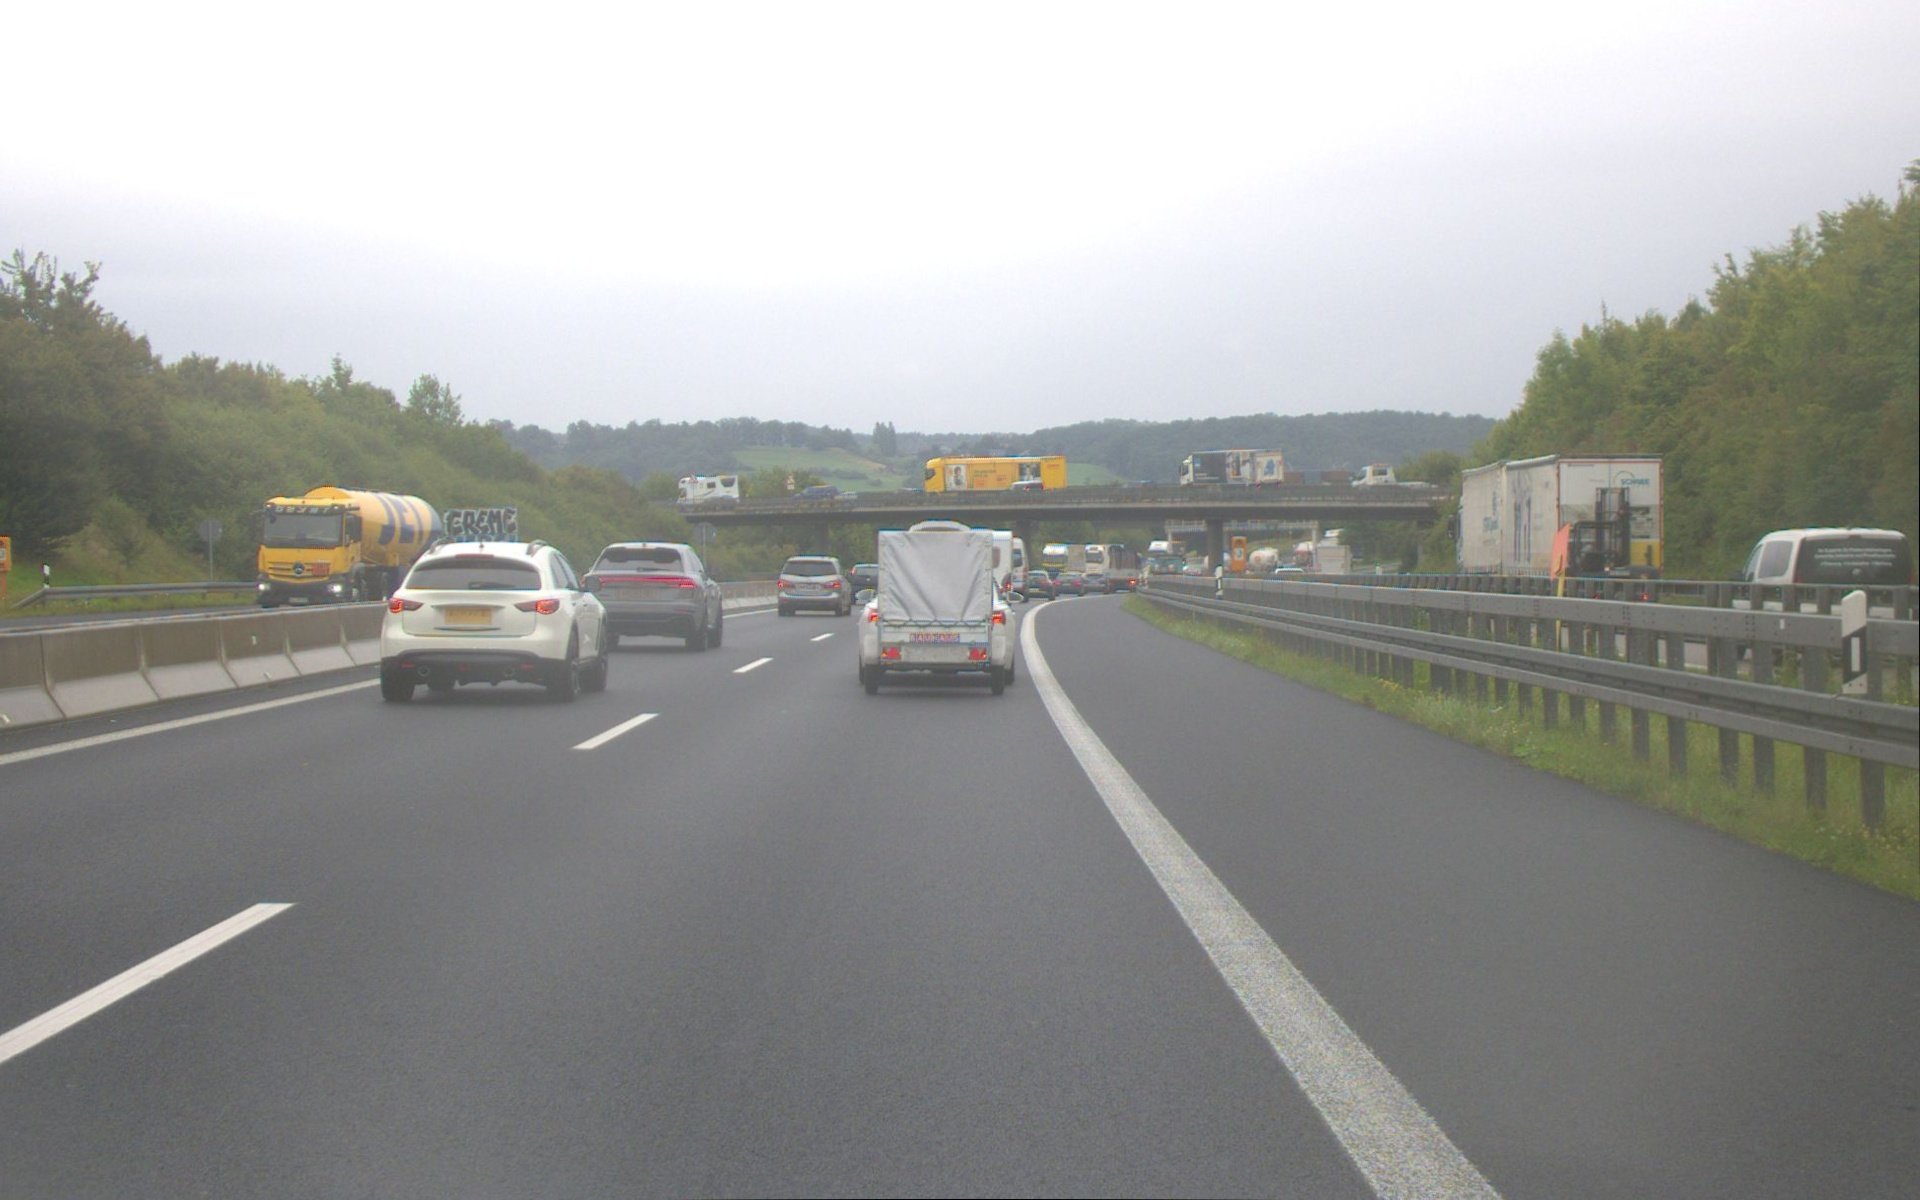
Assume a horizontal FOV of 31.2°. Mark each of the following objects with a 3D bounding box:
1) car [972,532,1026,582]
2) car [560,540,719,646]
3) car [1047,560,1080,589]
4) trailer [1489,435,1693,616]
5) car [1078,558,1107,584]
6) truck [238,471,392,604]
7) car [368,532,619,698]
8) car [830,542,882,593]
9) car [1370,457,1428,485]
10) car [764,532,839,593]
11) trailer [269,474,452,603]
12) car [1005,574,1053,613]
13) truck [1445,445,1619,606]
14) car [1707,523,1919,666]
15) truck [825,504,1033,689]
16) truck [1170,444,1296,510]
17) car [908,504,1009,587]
[{"bbox_3d":[1.601,-1.775,143.130,1.993,2.029,4.152,1,1,-3],"label":"car"},{"bbox_3d":[-5.076,-0.134,55.018,2.174,1.626,4.501,0,1,0],"label":"car"},{"bbox_3d":[6.437,-1.574,213.365,1.993,1.744,4.000,1,1,1],"label":"car"},{"bbox_3d":[15.670,-1.852,86.225,3.437,4.274,10.454,0,1,2],"label":"trailer"},{"bbox_3d":[9.294,-2.050,240.815,1.994,1.744,4.000,1,1,2],"label":"car"},{"bbox_3d":[-17.061,-1.633,91.269,2.762,3.387,5.845,1,1,2],"label":"truck"},{"bbox_3d":[-4.831,0.115,36.197,1.976,1.633,4.501,0,1,1],"label":"car"},{"bbox_3d":[-3.763,-1.209,124.842,1.841,1.813,4.000,0,1,-1],"label":"car"},{"bbox_3d":[31.269,-9.151,244.917,1.837,1.908,3.999,1,1,-38],"label":"car"},{"bbox_3d":[-4.256,-1.018,92.796,1.900,1.607,4.017,0,1,-1],"label":"car"},{"bbox_3d":[-16.845,-1.697,97.500,2.762,3.386,11.447,1,1,2],"label":"trailer"},{"bbox_3d":[3.228,-0.327,162.240,1.993,1.744,4.000,1,1,-3],"label":"car"},{"bbox_3d":[15.952,-2.082,96.672,3.437,4.274,10.418,0,1,2],"label":"truck"},{"bbox_3d":[11.408,-0.103,45.694,1.860,1.799,4.648,0,1,-1],"label":"car"},{"bbox_3d":[-0.258,-0.105,40.400,2.019,1.979,7.212,0,1,3],"label":"truck"},{"bbox_3d":[20.687,-9.283,261.196,3.767,4.819,10.042,0,1,-37],"label":"truck"},{"bbox_3d":[0.000,-1.771,110.507,3.017,2.607,6.074,0,1,2],"label":"car"}]
